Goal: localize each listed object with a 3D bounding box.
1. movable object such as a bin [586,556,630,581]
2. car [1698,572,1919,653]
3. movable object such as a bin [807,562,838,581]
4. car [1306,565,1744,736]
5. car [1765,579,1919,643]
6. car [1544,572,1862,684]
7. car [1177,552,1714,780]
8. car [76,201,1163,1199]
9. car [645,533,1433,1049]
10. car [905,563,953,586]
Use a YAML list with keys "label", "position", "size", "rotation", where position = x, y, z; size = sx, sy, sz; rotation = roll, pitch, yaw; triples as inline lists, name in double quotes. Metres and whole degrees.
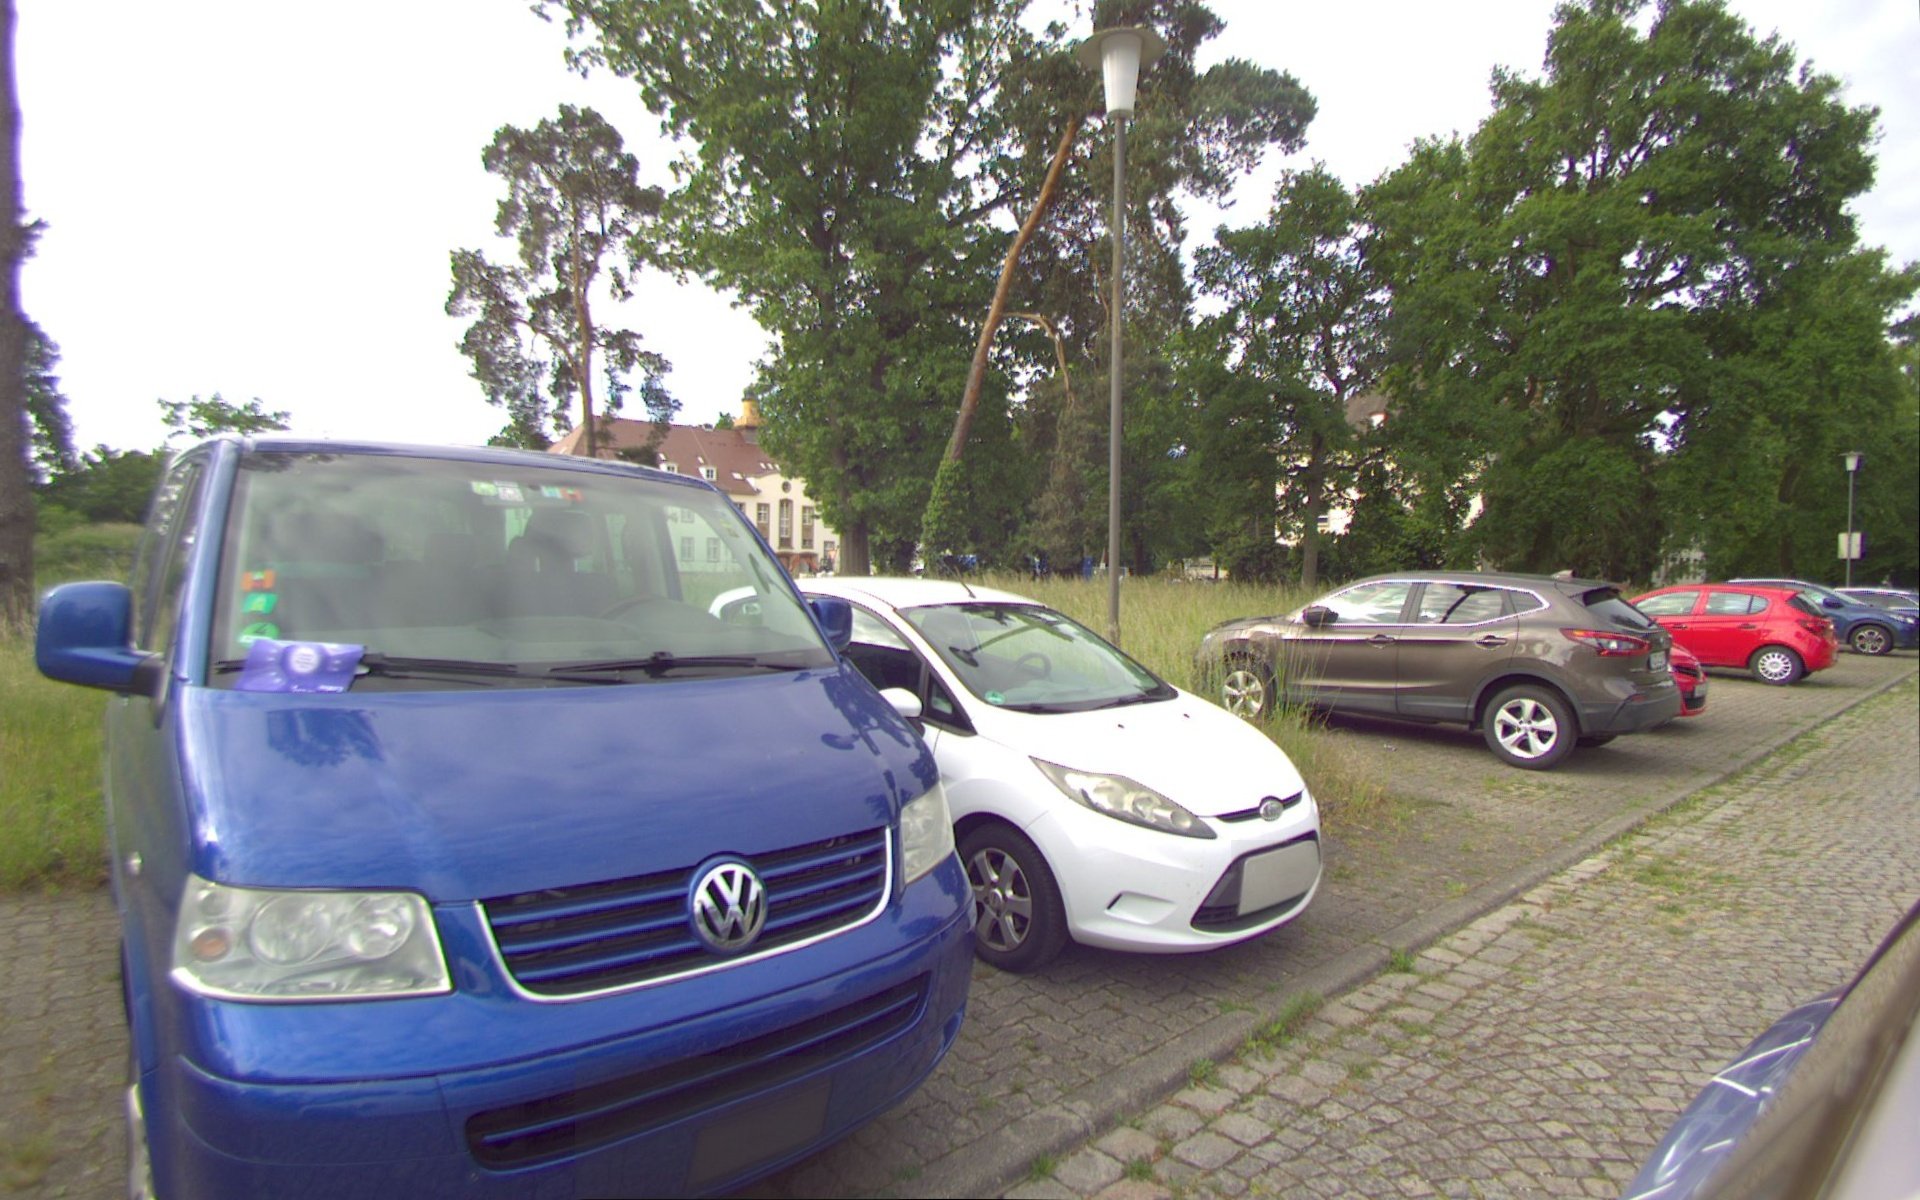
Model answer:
- label: "movable object such as a bin"
  position: [-28.593, -2.553, 82.233]
  size: [3.178, 2.038, 1.684]
  rotation: [0, 2, -28]
- label: "car"
  position: [19.530, 0.223, 23.037]
  size: [1.555, 1.557, 4.147]
  rotation: [-1, 3, -42]
- label: "movable object such as a bin"
  position: [-14.586, -3.010, 107.204]
  size: [2.933, 2.038, 1.553]
  rotation: [-1, 2, -41]
- label: "car"
  position: [6.281, 0.416, 11.631]
  size: [1.735, 1.504, 4.015]
  rotation: [0, 3, -40]
- label: "car"
  position: [23.170, 0.263, 25.825]
  size: [1.555, 1.443, 3.874]
  rotation: [-1, 3, -42]
- label: "car"
  position: [11.926, 0.354, 16.444]
  size: [1.555, 1.477, 3.891]
  rotation: [-1, 3, -42]
- label: "car"
  position: [4.394, 0.410, 9.715]
  size: [1.791, 1.618, 4.267]
  rotation: [-1, 3, -42]
- label: "car"
  position: [-1.853, 0.365, 3.666]
  size: [1.969, 1.969, 4.816]
  rotation: [-1, 4, -42]
- label: "car"
  position: [0.075, 0.517, 5.287]
  size: [1.810, 1.489, 3.871]
  rotation: [-1, 6, -42]
- label: "car"
  position: [-2.690, -2.225, 88.581]
  size: [1.994, 2.038, 3.937]
  rotation: [2, 2, 44]
